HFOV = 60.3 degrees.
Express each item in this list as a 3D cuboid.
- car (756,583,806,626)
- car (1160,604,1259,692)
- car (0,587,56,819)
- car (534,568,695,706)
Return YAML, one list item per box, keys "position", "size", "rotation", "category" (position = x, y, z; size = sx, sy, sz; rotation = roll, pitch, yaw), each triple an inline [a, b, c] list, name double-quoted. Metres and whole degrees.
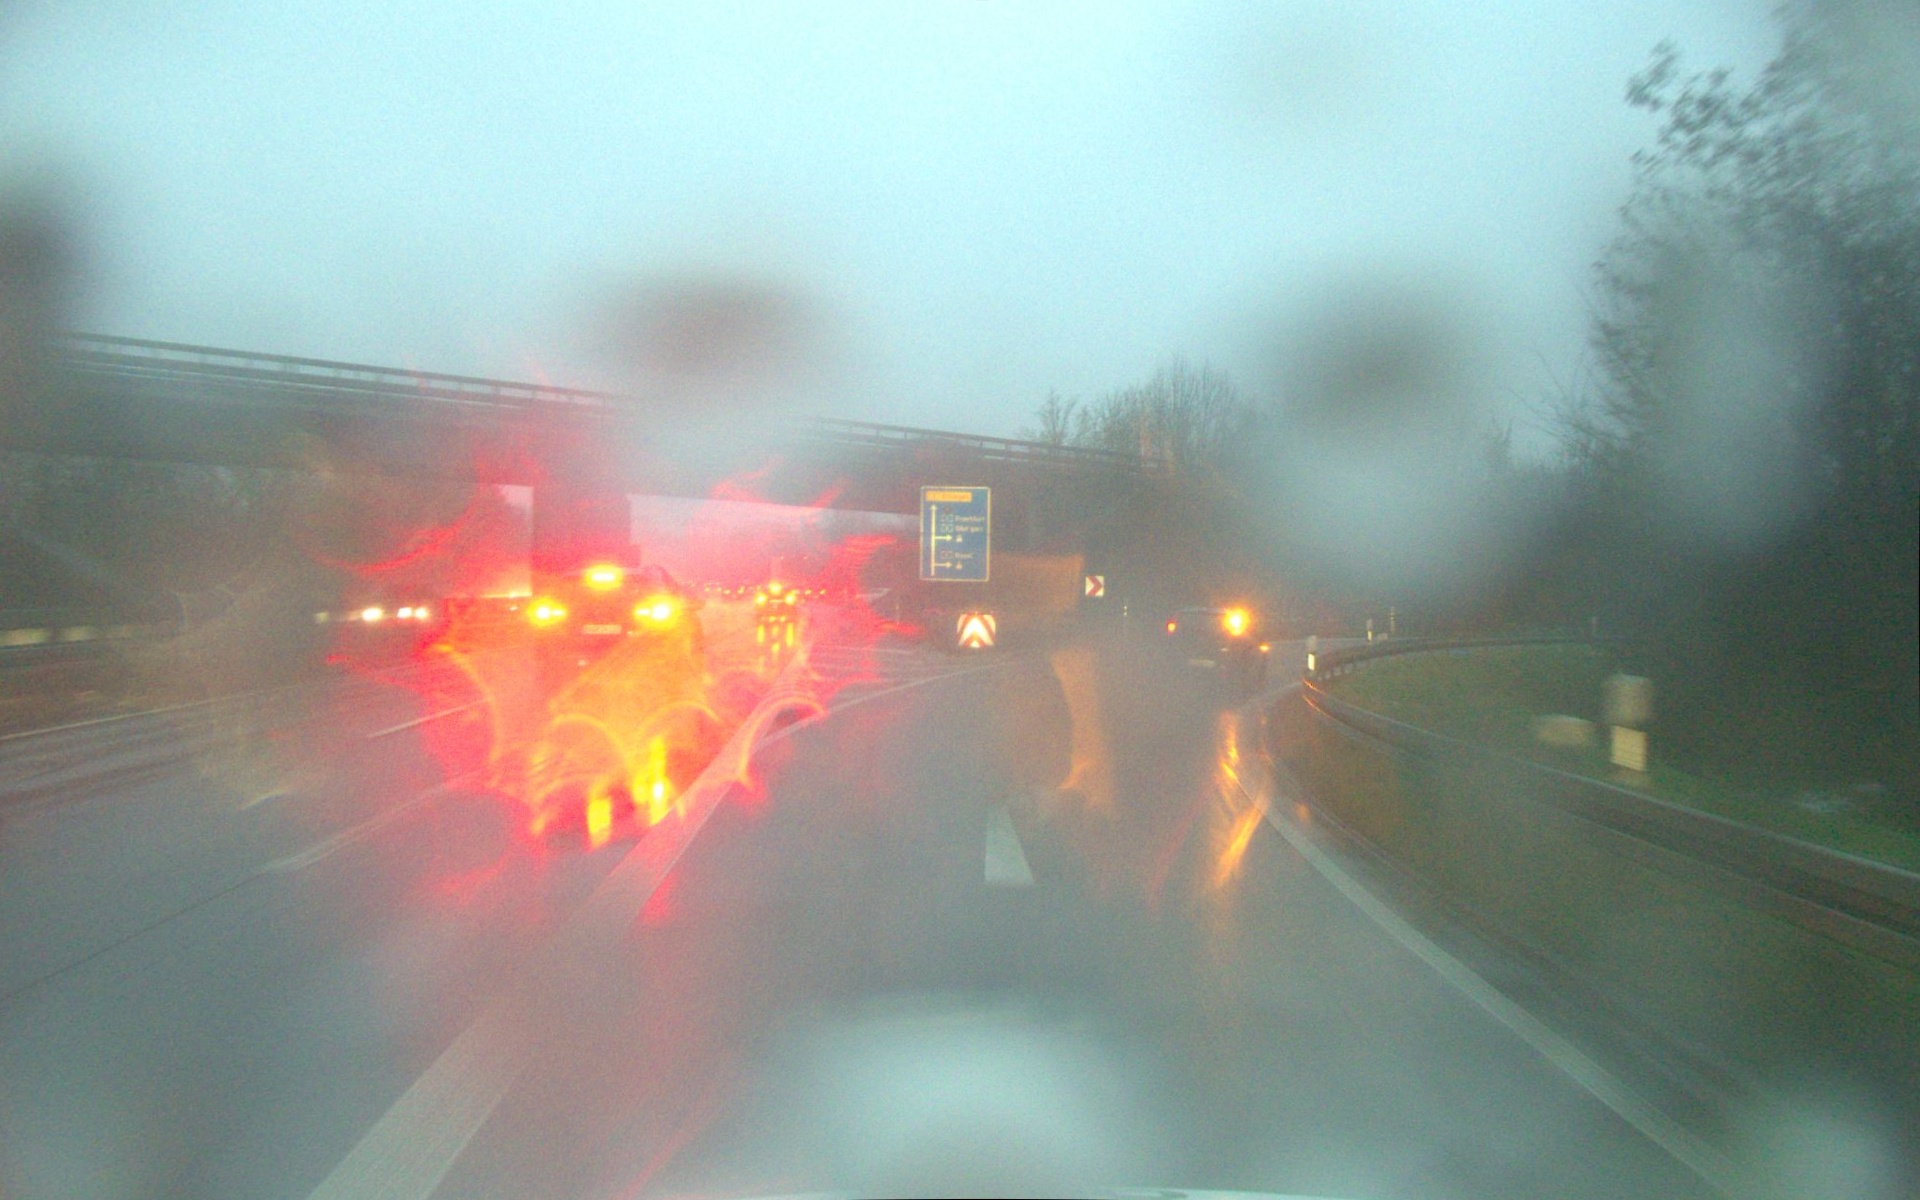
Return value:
- position: [-7.720, 0.176, 71.668]
  size: [1.840, 1.645, 3.874]
  rotation: [1, 2, -2]
  category: "car"
- position: [4.616, 0.847, 30.823]
  size: [1.695, 1.454, 3.768]
  rotation: [-1, 1, 7]
  category: "car"
- position: [-6.967, 0.765, 9.106]
  size: [1.764, 1.493, 4.409]
  rotation: [-5, 1, -5]
  category: "car"
- position: [-4.664, 0.437, 22.810]
  size: [1.957, 1.694, 3.991]
  rotation: [-1, 1, -9]
  category: "car"
